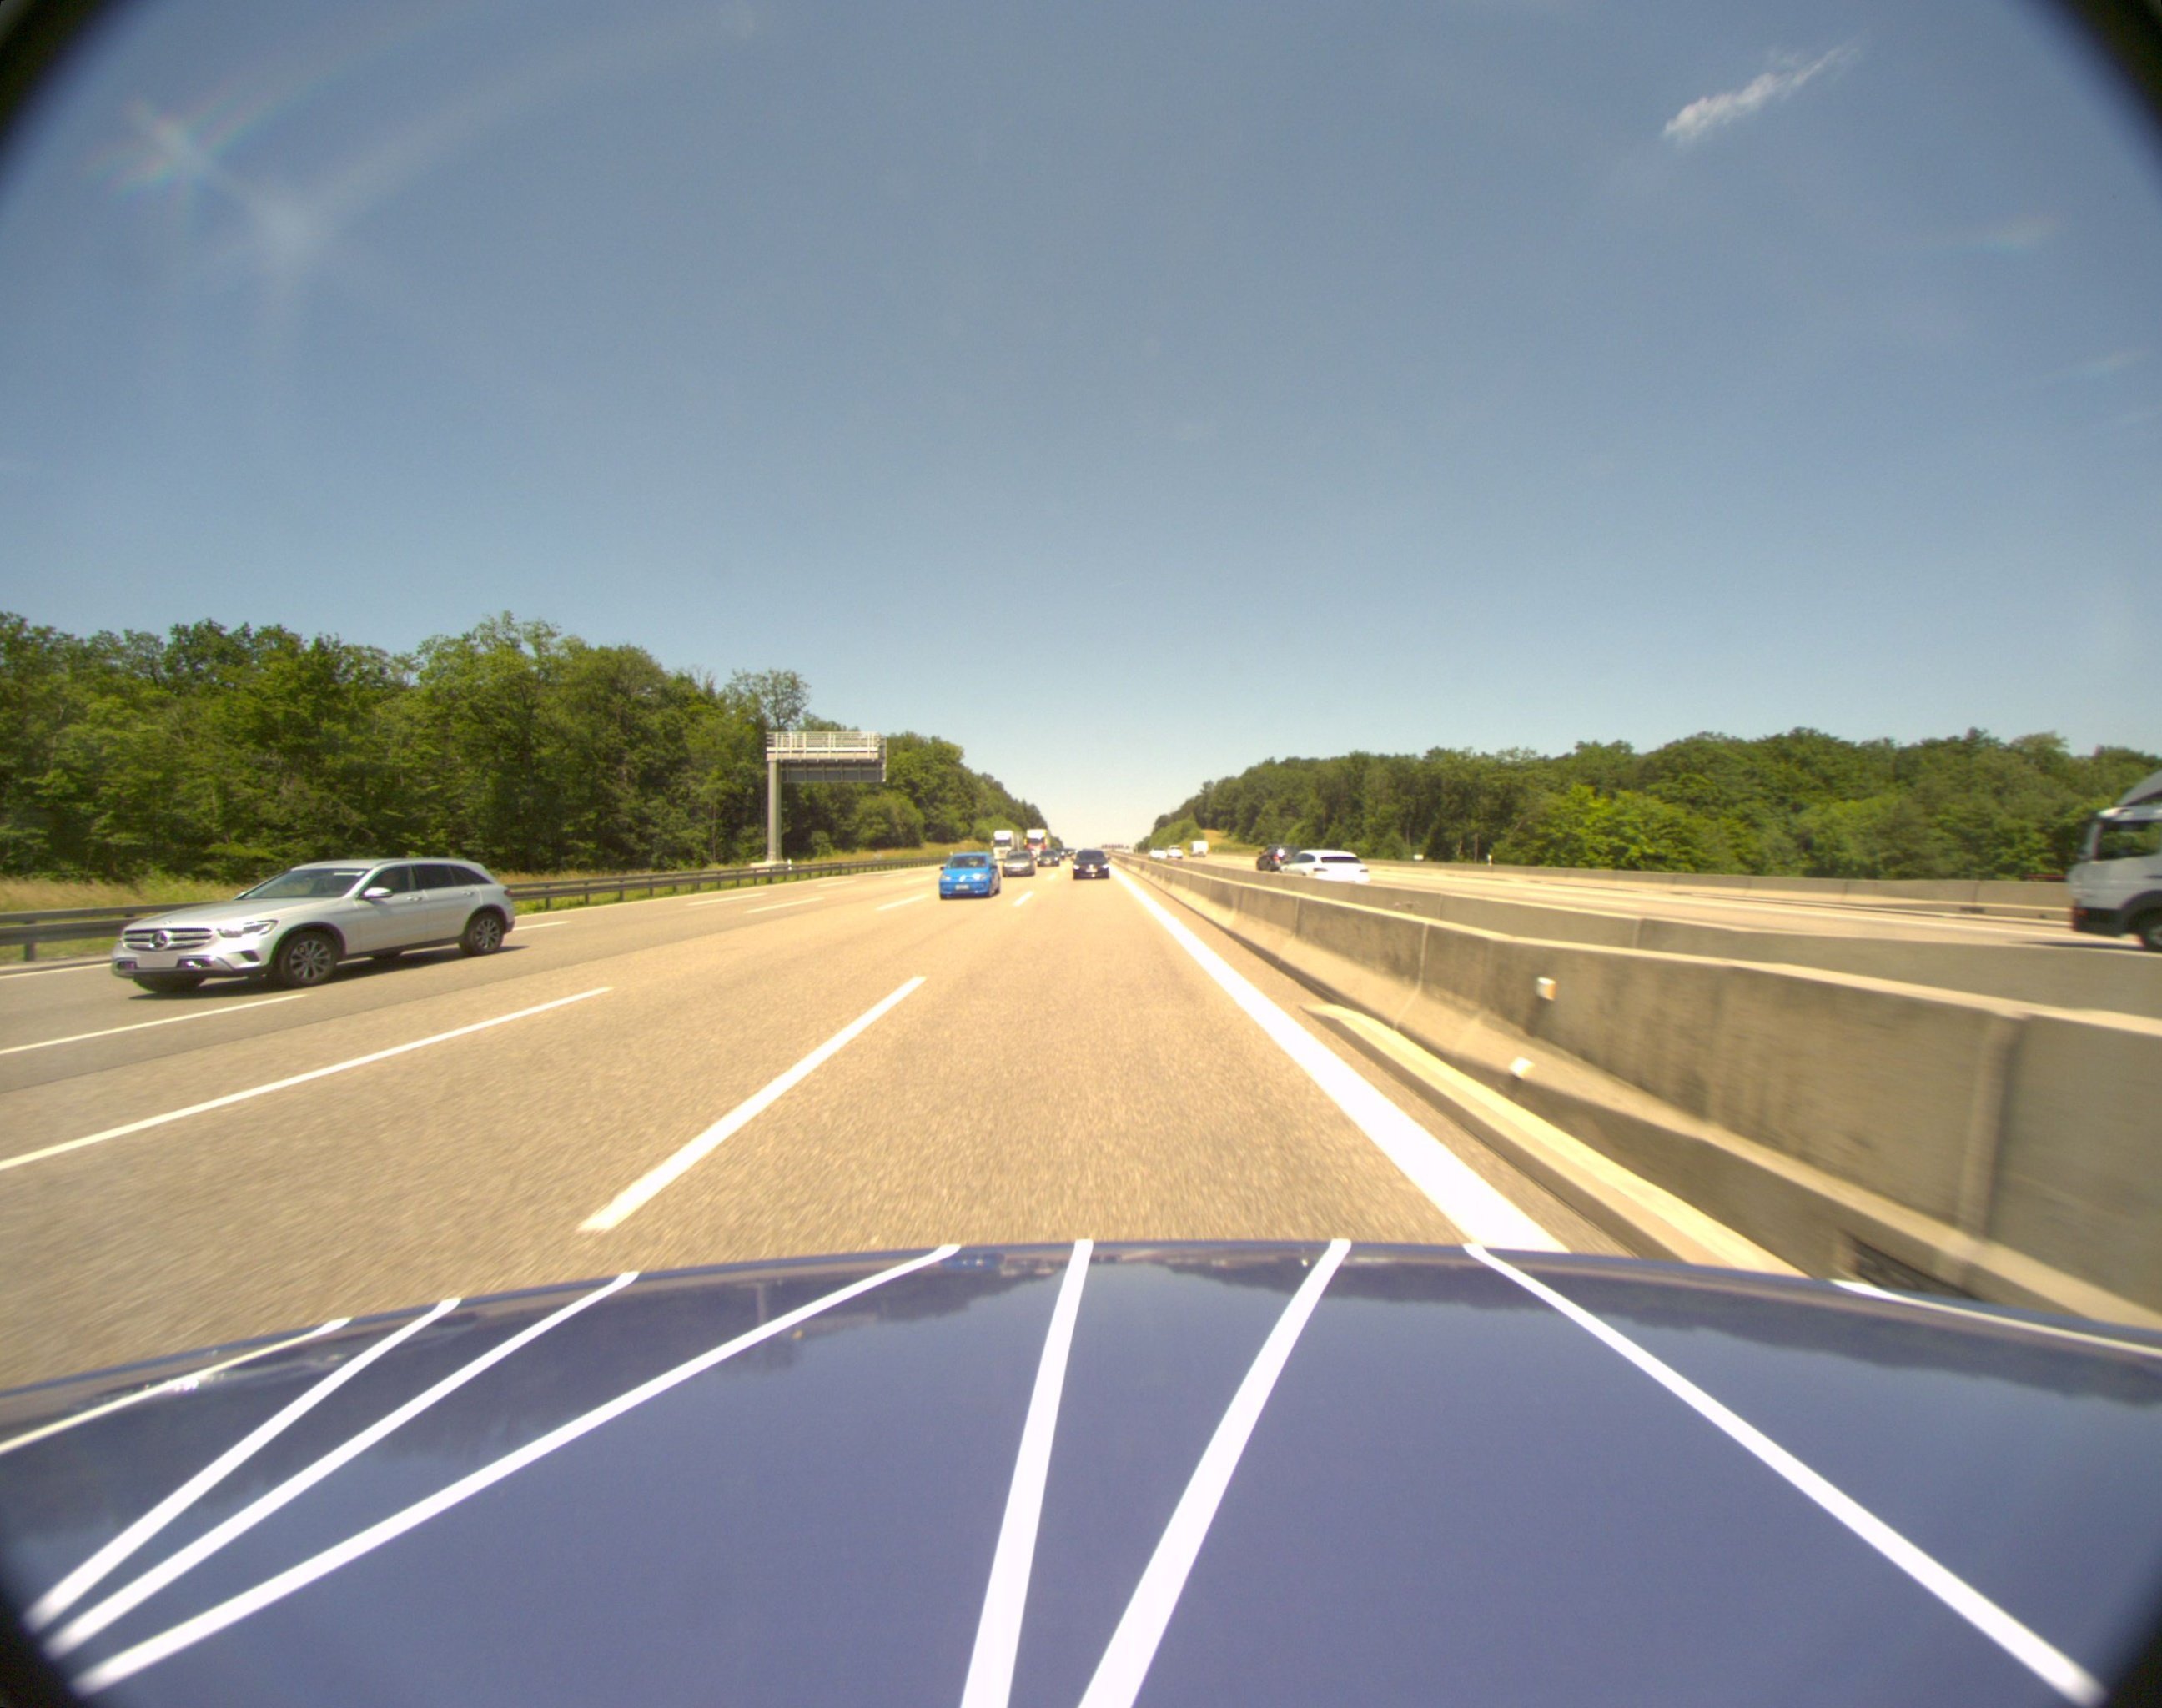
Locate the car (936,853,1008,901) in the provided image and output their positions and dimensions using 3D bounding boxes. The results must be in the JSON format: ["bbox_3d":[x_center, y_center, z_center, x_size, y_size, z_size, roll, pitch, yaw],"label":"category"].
[{"bbox_3d":[-3.581,0.713,25.596,1.741,1.403,4.000,-1,1,1],"label":"car"}]

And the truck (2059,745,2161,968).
[{"bbox_3d":[18.510,0.124,9.026,2.546,3.550,8.575,2,1,0],"label":"truck"}]

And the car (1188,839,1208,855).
[{"bbox_3d":[20.412,-1.283,132.952,2.227,2.644,8.174,1,1,1],"label":"car"}]

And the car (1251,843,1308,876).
[{"bbox_3d":[11.195,0.264,43.247,1.998,1.724,4.924,1,1,0],"label":"car"}]

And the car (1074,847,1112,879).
[{"bbox_3d":[0.598,0.425,37.897,1.777,1.425,4.143,-2,0,1],"label":"car"}]

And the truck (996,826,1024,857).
[{"bbox_3d":[-10.071,-1.724,109.419,2.728,4.136,10.970,-2,0,1],"label":"truck"}]

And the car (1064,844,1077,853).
[{"bbox_3d":[-1.807,-0.895,128.038,1.910,1.504,4.160,-2,0,2],"label":"car"}]

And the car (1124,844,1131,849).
[{"bbox_3d":[14.246,-2.239,232.594,1.843,1.433,3.999,0,1,0],"label":"car"}]

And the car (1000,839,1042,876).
[{"bbox_3d":[-3.428,0.164,44.471,1.966,2.042,4.783,-1,1,1],"label":"car"}]

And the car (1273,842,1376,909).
[{"bbox_3d":[7.628,0.625,24.371,1.778,1.869,5.211,-2,0,2],"label":"car"}]

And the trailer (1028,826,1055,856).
[{"bbox_3d":[-5.685,-1.739,112.653,2.926,4.118,14.850,0,0,1],"label":"trailer"}]

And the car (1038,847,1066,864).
[{"bbox_3d":[-2.444,0.142,66.272,1.971,1.444,5.225,-1,0,3],"label":"car"}]

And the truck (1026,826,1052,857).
[{"bbox_3d":[-5.767,-1.668,105.760,3.018,3.957,7.540,-1,0,1],"label":"truck"}]

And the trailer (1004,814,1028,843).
[{"bbox_3d":[-9.960,-3.837,117.206,2.585,4.046,8.383,-2,0,1],"label":"trailer"}]

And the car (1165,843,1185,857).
[{"bbox_3d":[12.503,-0.613,101.253,1.998,1.777,5.318,1,1,0],"label":"car"}]

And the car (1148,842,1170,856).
[{"bbox_3d":[8.745,-0.590,85.402,1.853,1.515,5.318,1,1,0],"label":"car"}]

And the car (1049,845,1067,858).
[{"bbox_3d":[-2.916,-0.337,96.149,1.910,1.504,4.160,-2,0,2],"label":"car"}]

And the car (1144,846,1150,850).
[{"bbox_3d":[22.626,-2.133,260.727,1.843,1.433,4.763,2,1,0],"label":"car"}]

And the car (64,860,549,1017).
[{"bbox_3d":[-10.731,0.989,11.351,1.805,1.721,5.239,-2,0,1],"label":"car"}]
